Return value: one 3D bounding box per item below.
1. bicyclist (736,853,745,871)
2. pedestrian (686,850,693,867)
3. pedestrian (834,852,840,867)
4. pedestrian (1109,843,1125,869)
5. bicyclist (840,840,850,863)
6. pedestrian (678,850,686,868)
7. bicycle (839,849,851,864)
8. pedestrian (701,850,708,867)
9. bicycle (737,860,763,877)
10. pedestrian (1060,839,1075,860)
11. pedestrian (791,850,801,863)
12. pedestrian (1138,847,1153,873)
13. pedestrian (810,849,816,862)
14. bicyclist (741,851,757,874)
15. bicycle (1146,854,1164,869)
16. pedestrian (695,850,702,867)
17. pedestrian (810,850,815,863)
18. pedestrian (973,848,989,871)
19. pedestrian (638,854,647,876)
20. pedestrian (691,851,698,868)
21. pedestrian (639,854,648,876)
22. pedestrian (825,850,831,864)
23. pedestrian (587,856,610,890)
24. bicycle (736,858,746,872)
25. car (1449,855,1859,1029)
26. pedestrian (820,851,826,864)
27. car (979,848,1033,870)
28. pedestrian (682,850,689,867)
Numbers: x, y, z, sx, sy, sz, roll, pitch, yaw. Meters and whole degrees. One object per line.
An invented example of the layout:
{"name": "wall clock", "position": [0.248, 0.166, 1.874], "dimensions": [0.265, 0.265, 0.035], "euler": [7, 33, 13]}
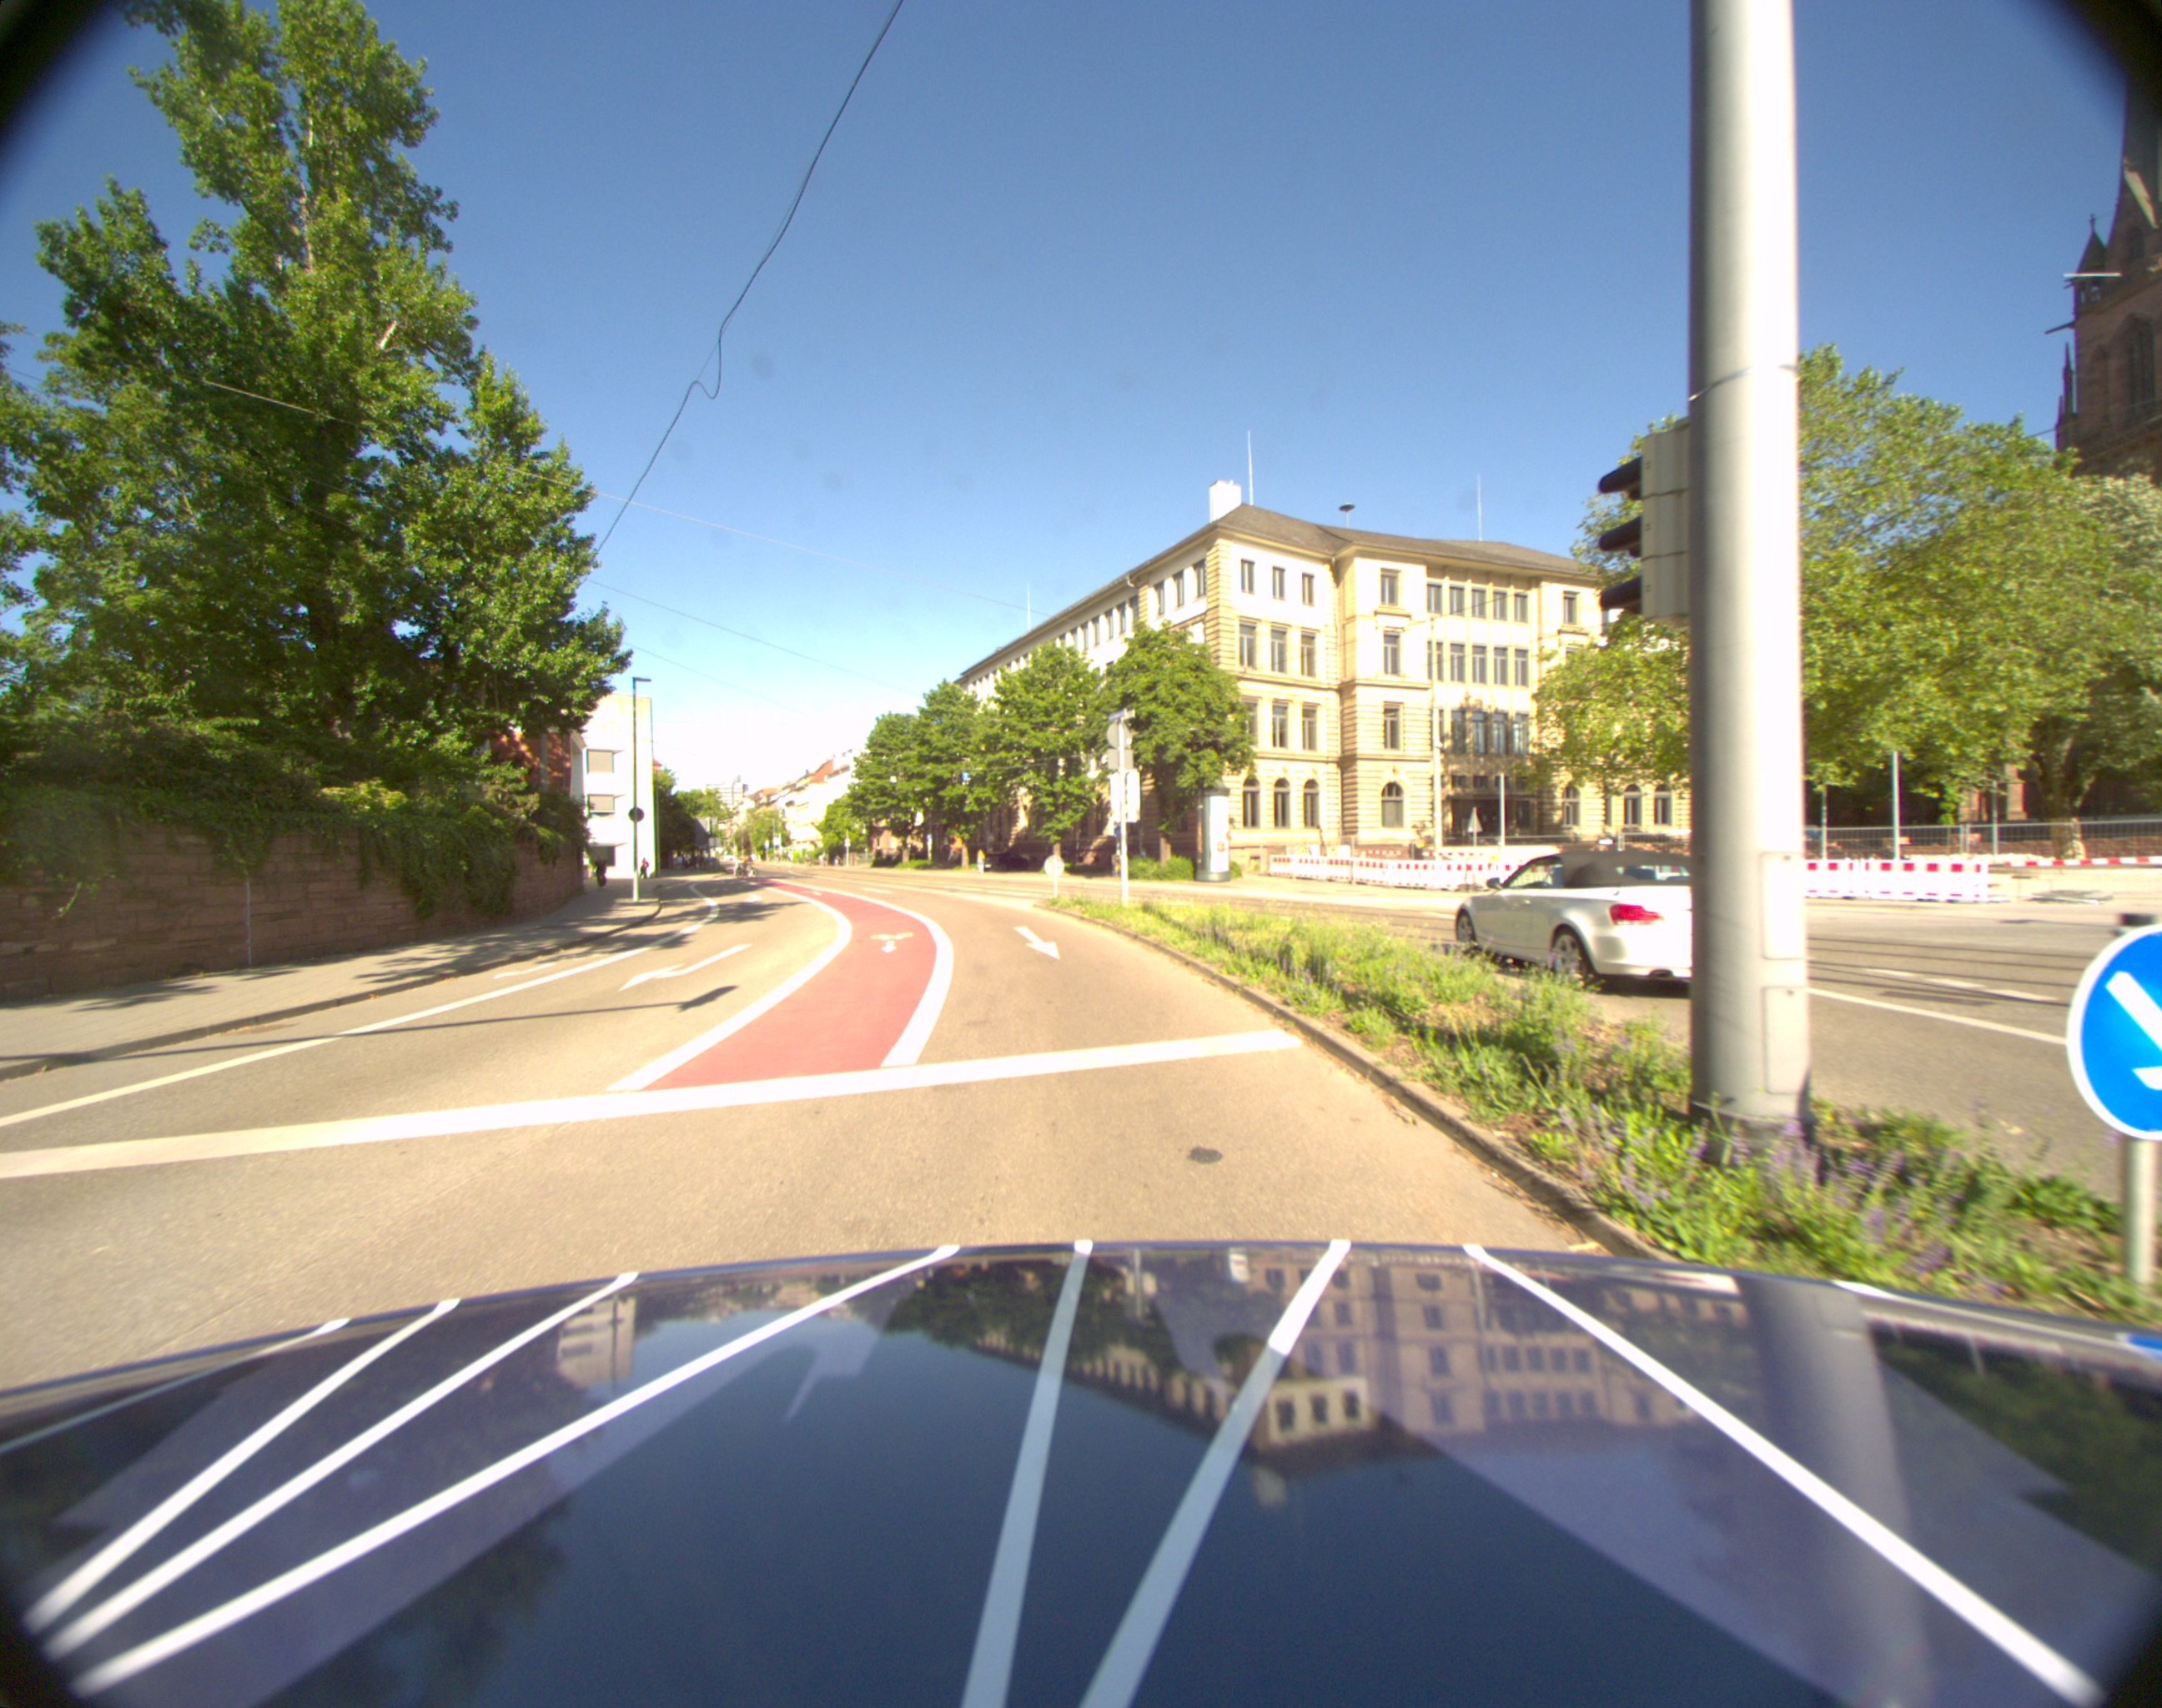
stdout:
{"name": "bicyclist", "position": [-29.356, 0.695, 65.541], "dimensions": [0.666, 1.453, 0.621], "euler": [-3, 3, -25]}
{"name": "pedestrian", "position": [-40.925, 0.475, 79.465], "dimensions": [0.589, 1.796, 0.544], "euler": [-2, 1, -30]}
{"name": "pedestrian", "position": [-30.014, 0.674, 93.542], "dimensions": [0.580, 1.845, 0.652], "euler": [-2, 1, -33]}
{"name": "pedestrian", "position": [2.320, 0.138, 49.169], "dimensions": [0.730, 1.660, 0.844], "euler": [-1, 4, -18]}
{"name": "bicyclist", "position": [-30.991, -0.366, 99.794], "dimensions": [1.004, 2.959, 1.472], "euler": [-2, 3, -12]}
{"name": "pedestrian", "position": [-41.543, 0.508, 79.102], "dimensions": [0.589, 1.796, 0.544], "euler": [-2, 1, -30]}
{"name": "bicycle", "position": [-30.993, 0.319, 99.957], "dimensions": [1.004, 1.877, 3.889], "euler": [-2, 2, -11]}
{"name": "pedestrian", "position": [-39.669, 0.472, 80.127], "dimensions": [0.589, 1.717, 0.519], "euler": [-2, 1, -30]}
{"name": "bicycle", "position": [-24.311, 1.024, 55.842], "dimensions": [1.601, 1.145, 0.743], "euler": [-4, 3, -36]}
{"name": "pedestrian", "position": [-1.026, -0.327, 57.095], "dimensions": [0.674, 1.558, 0.856], "euler": [-7, 4, -33]}
{"name": "pedestrian", "position": [-38.419, 0.347, 102.367], "dimensions": [0.677, 1.728, 0.933], "euler": [0, 2, 42]}
{"name": "pedestrian", "position": [3.857, 0.357, 45.401], "dimensions": [0.580, 1.553, 0.652], "euler": [-2, 1, -28]}
{"name": "pedestrian", "position": [-37.920, 0.247, 107.513], "dimensions": [0.730, 1.845, 0.652], "euler": [-2, 1, -26]}
{"name": "bicyclist", "position": [-24.378, 0.608, 55.783], "dimensions": [0.881, 1.574, 0.743], "euler": [-4, 3, -36]}
{"name": "bicycle", "position": [4.656, 0.451, 47.746], "dimensions": [0.398, 0.898, 1.358], "euler": [-3, 3, -27]}
{"name": "pedestrian", "position": [-40.195, 0.440, 79.772], "dimensions": [0.589, 1.796, 0.519], "euler": [-2, 1, -30]}
{"name": "pedestrian", "position": [-37.914, 0.378, 107.361], "dimensions": [0.580, 1.845, 0.683], "euler": [-2, 1, -28]}
{"name": "pedestrian", "position": [-7.408, 0.442, 56.457], "dimensions": [0.773, 1.658, 1.032], "euler": [1, -4, -33]}
{"name": "pedestrian", "position": [-31.882, 0.814, 55.267], "dimensions": [0.521, 1.557, 0.533], "euler": [-2, 1, -29]}
{"name": "pedestrian", "position": [-41.190, 0.602, 80.979], "dimensions": [0.589, 1.796, 0.581], "euler": [-2, 1, -30]}
{"name": "pedestrian", "position": [-32.197, 0.802, 55.887], "dimensions": [0.521, 1.557, 0.533], "euler": [-2, 1, -29]}
{"name": "pedestrian", "position": [-34.271, 0.436, 102.884], "dimensions": [0.580, 1.845, 0.683], "euler": [-2, 1, -28]}
{"name": "pedestrian", "position": [-24.267, 0.959, 38.221], "dimensions": [0.942, 1.668, 0.952], "euler": [1, 1, -30]}
{"name": "bicycle", "position": [-29.355, 0.958, 65.570], "dimensions": [0.666, 1.146, 1.668], "euler": [-3, 3, -25]}
{"name": "car", "position": [5.794, 0.733, 8.450], "dimensions": [1.803, 1.385, 4.094], "euler": [1, 1, 7]}
{"name": "pedestrian", "position": [-34.841, 0.468, 102.532], "dimensions": [0.580, 1.845, 0.683], "euler": [-2, 1, -28]}
{"name": "car", "position": [-5.772, 0.373, 58.656], "dimensions": [1.916, 1.565, 4.118], "euler": [0, 1, 34]}
{"name": "pedestrian", "position": [-41.925, 0.469, 80.529], "dimensions": [0.589, 1.796, 0.581], "euler": [-2, 1, -30]}
